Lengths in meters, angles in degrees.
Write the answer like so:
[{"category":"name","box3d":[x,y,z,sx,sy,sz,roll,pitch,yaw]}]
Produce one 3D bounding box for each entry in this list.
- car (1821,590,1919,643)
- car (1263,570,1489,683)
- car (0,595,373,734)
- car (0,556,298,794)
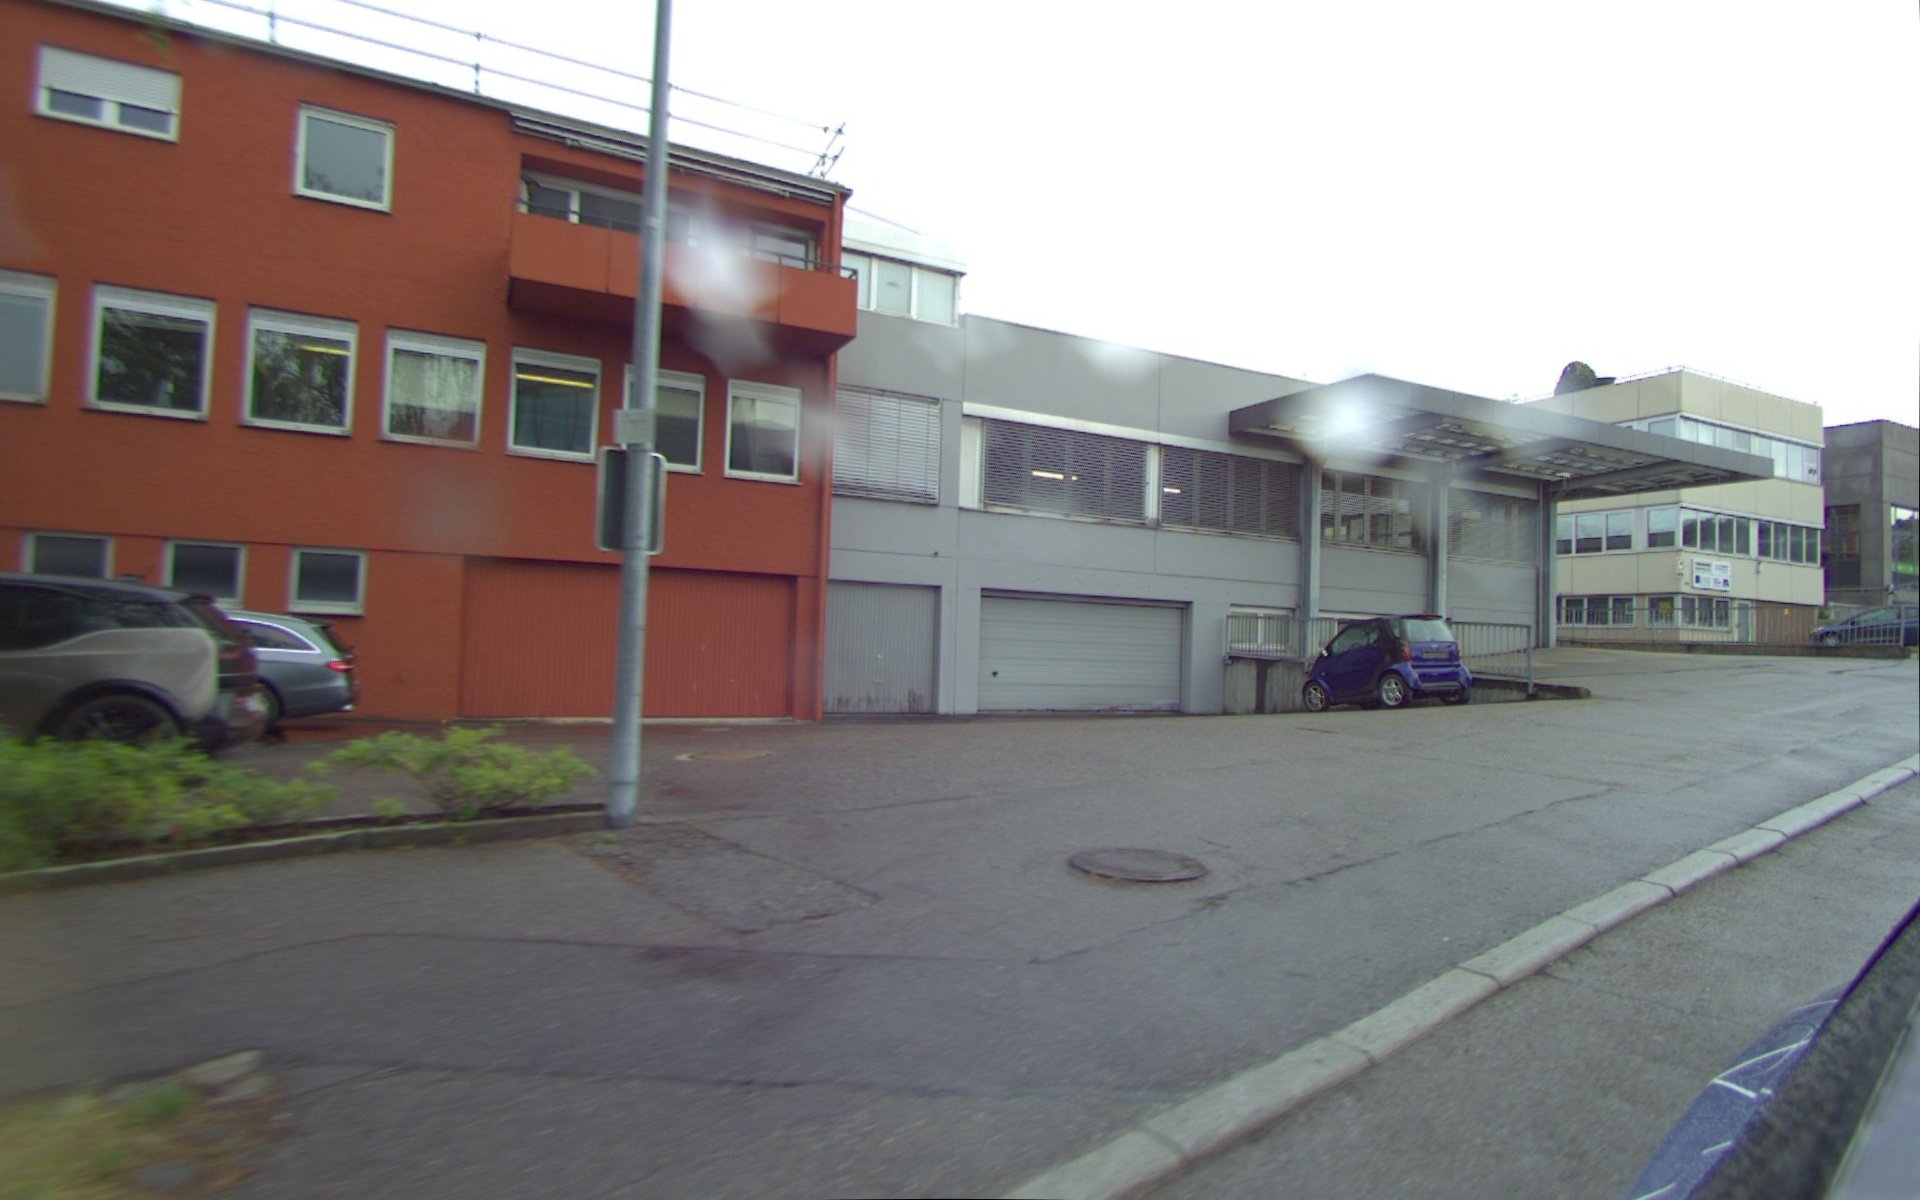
[{"category":"car","box3d":[29.573,0.523,31.592,1.598,1.559,3.757,1,1,-29]},{"category":"car","box3d":[7.122,0.531,17.689,1.584,1.520,3.448,0,-8,-21]},{"category":"car","box3d":[-9.688,0.710,12.122,4.418,1.468,1.978,0,-2,-25]},{"category":"car","box3d":[-7.629,0.528,7.372,4.418,1.599,2.005,0,-2,-24]}]
